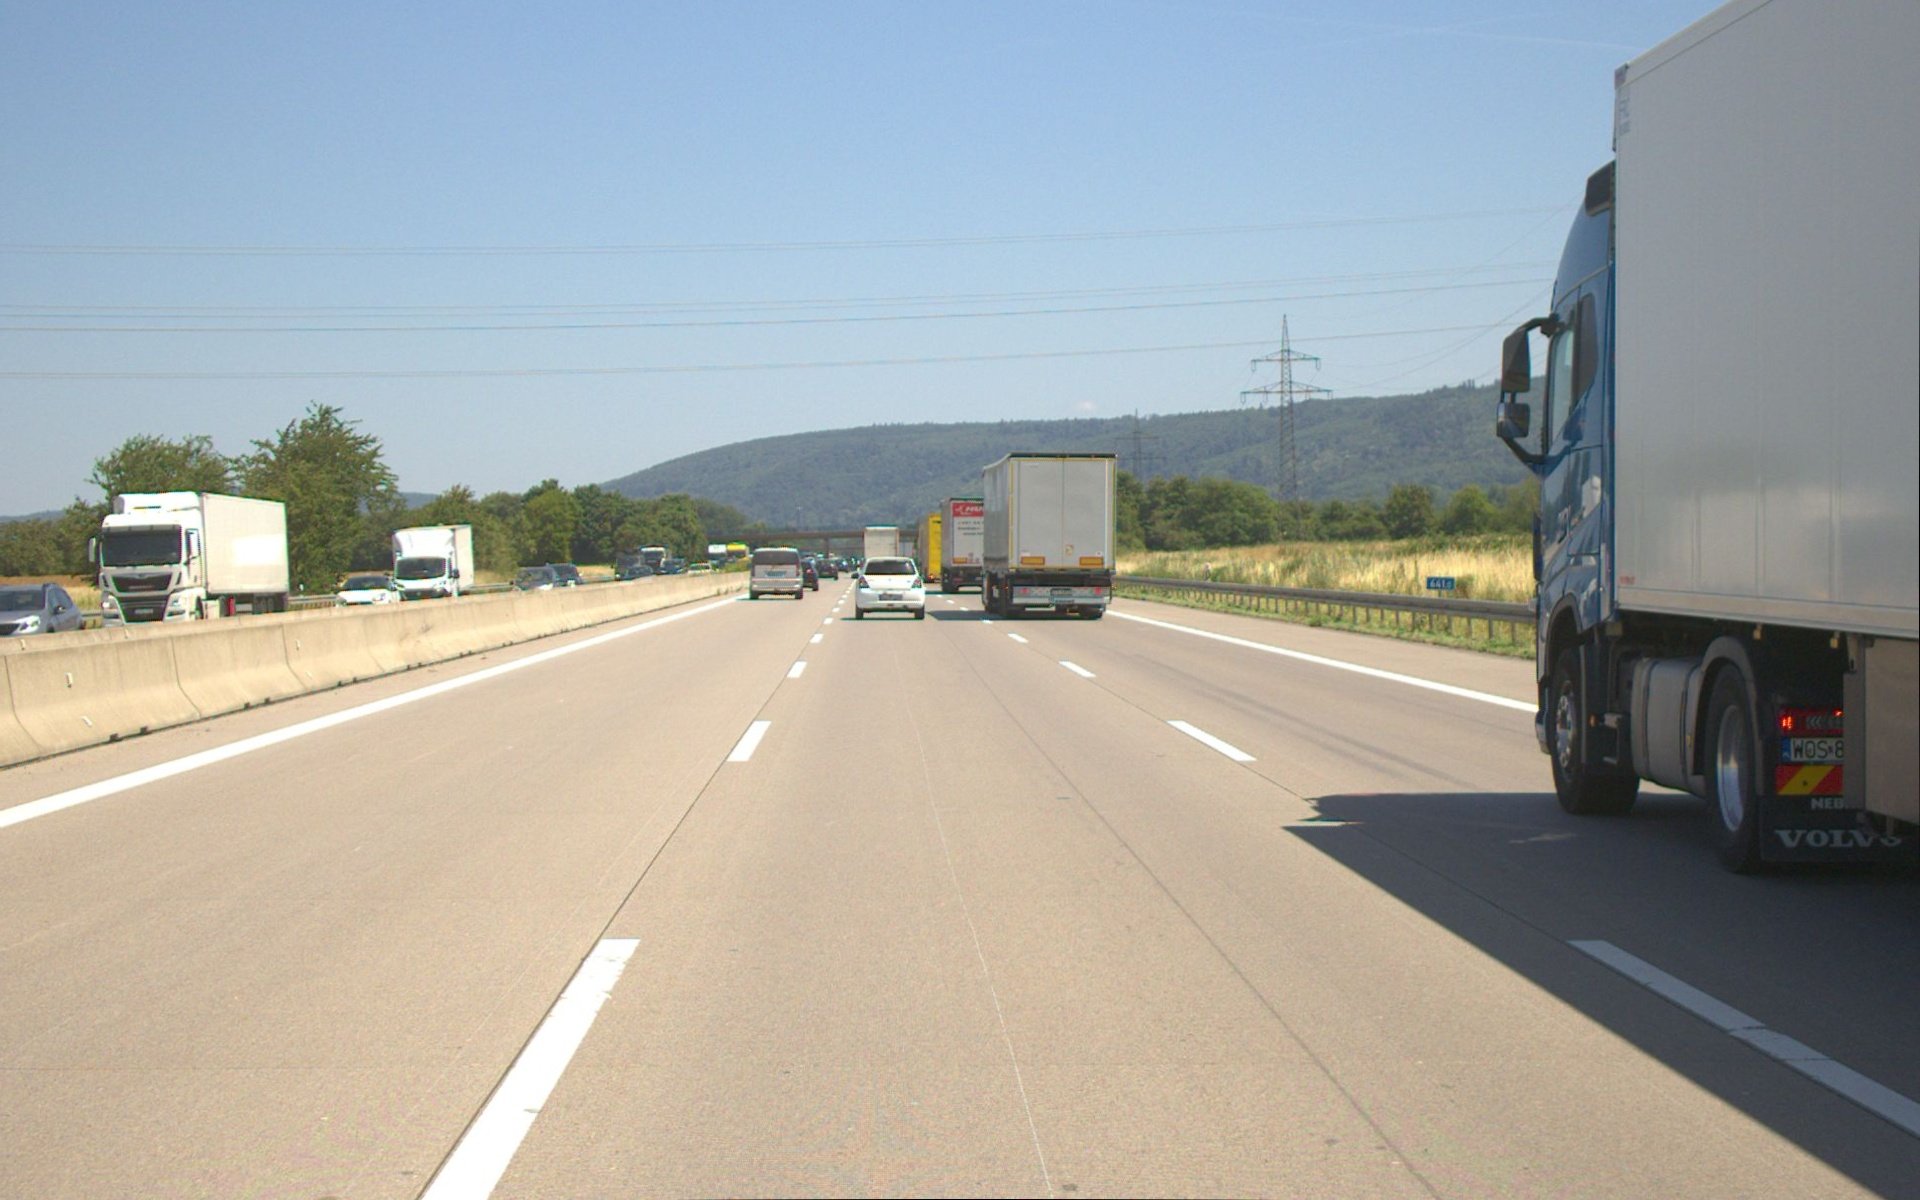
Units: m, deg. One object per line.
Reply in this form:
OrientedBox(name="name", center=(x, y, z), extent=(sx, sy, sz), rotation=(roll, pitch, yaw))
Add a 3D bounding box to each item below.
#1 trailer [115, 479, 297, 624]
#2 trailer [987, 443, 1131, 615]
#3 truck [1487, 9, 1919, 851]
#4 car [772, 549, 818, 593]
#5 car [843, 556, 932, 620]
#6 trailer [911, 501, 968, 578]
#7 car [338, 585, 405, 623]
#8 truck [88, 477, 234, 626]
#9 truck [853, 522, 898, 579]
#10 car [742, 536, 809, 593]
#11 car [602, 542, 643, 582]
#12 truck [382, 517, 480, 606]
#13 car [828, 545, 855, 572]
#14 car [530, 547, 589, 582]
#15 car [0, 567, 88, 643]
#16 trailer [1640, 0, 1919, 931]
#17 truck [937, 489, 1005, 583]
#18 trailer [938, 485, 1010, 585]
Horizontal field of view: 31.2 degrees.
OrientedBox(name="trailer", center=(-22.448, -1.443, 103.130), extent=(2.820, 4.030, 12.678), rotation=(1, 1, -1))
OrientedBox(name="trailer", center=(2.393, -1.766, 88.293), extent=(3.018, 4.047, 14.208), rotation=(1, 1, -1))
OrientedBox(name="truck", center=(4.825, -0.840, 19.248), extent=(2.750, 4.030, 5.466), rotation=(1, 1, -1))
OrientedBox(name="car", center=(-7.539, -1.345, 157.662), extent=(1.993, 1.950, 4.000), rotation=(1, 1, -1))
OrientedBox(name="car", center=(-1.752, -0.309, 84.624), extent=(2.107, 1.530, 4.122), rotation=(1, 1, 0))
OrientedBox(name="trailer", center=(-1.321, -3.656, 209.805), extent=(3.216, 4.548, 13.457), rotation=(1, 1, -1))
OrientedBox(name="car", center=(-18.628, 0.115, 108.938), extent=(1.680, 1.142, 4.399), rotation=(-1, 1, -5))
OrientedBox(name="truck", center=(-22.351, -1.359, 96.430), extent=(2.819, 4.030, 5.678), rotation=(1, 1, -1))
OrientedBox(name="truck", center=(-6.476, -3.755, 263.266), extent=(3.353, 4.257, 8.229), rotation=(1, 1, -1))
OrientedBox(name="car", center=(-6.735, -1.299, 125.880), extent=(2.254, 2.007, 4.298), rotation=(1, 1, -1))
OrientedBox(name="car", center=(-23.609, -2.663, 240.516), extent=(2.248, 2.777, 6.792), rotation=(1, 1, 0))
OrientedBox(name="truck", center=(-19.023, -1.394, 123.953), extent=(2.547, 3.131, 7.923), rotation=(0, 1, -2))
OrientedBox(name="car", center=(-8.250, -2.874, 239.772), extent=(1.783, 1.875, 4.000), rotation=(1, 1, -1))
OrientedBox(name="car", center=(-16.236, -1.460, 139.575), extent=(1.846, 1.347, 4.494), rotation=(-1, 1, 0))
OrientedBox(name="car", center=(-17.968, 0.067, 65.264), extent=(1.735, 1.368, 4.907), rotation=(1, 1, -2))
OrientedBox(name="trailer", center=(5.011, -0.738, 11.215), extent=(2.708, 4.030, 12.903), rotation=(1, 1, -1))
OrientedBox(name="truck", center=(0.475, -2.826, 153.707), extent=(2.905, 4.086, 6.272), rotation=(1, 1, -1))
OrientedBox(name="trailer", center=(0.540, -2.754, 148.164), extent=(2.873, 4.086, 13.513), rotation=(1, 1, -1))
